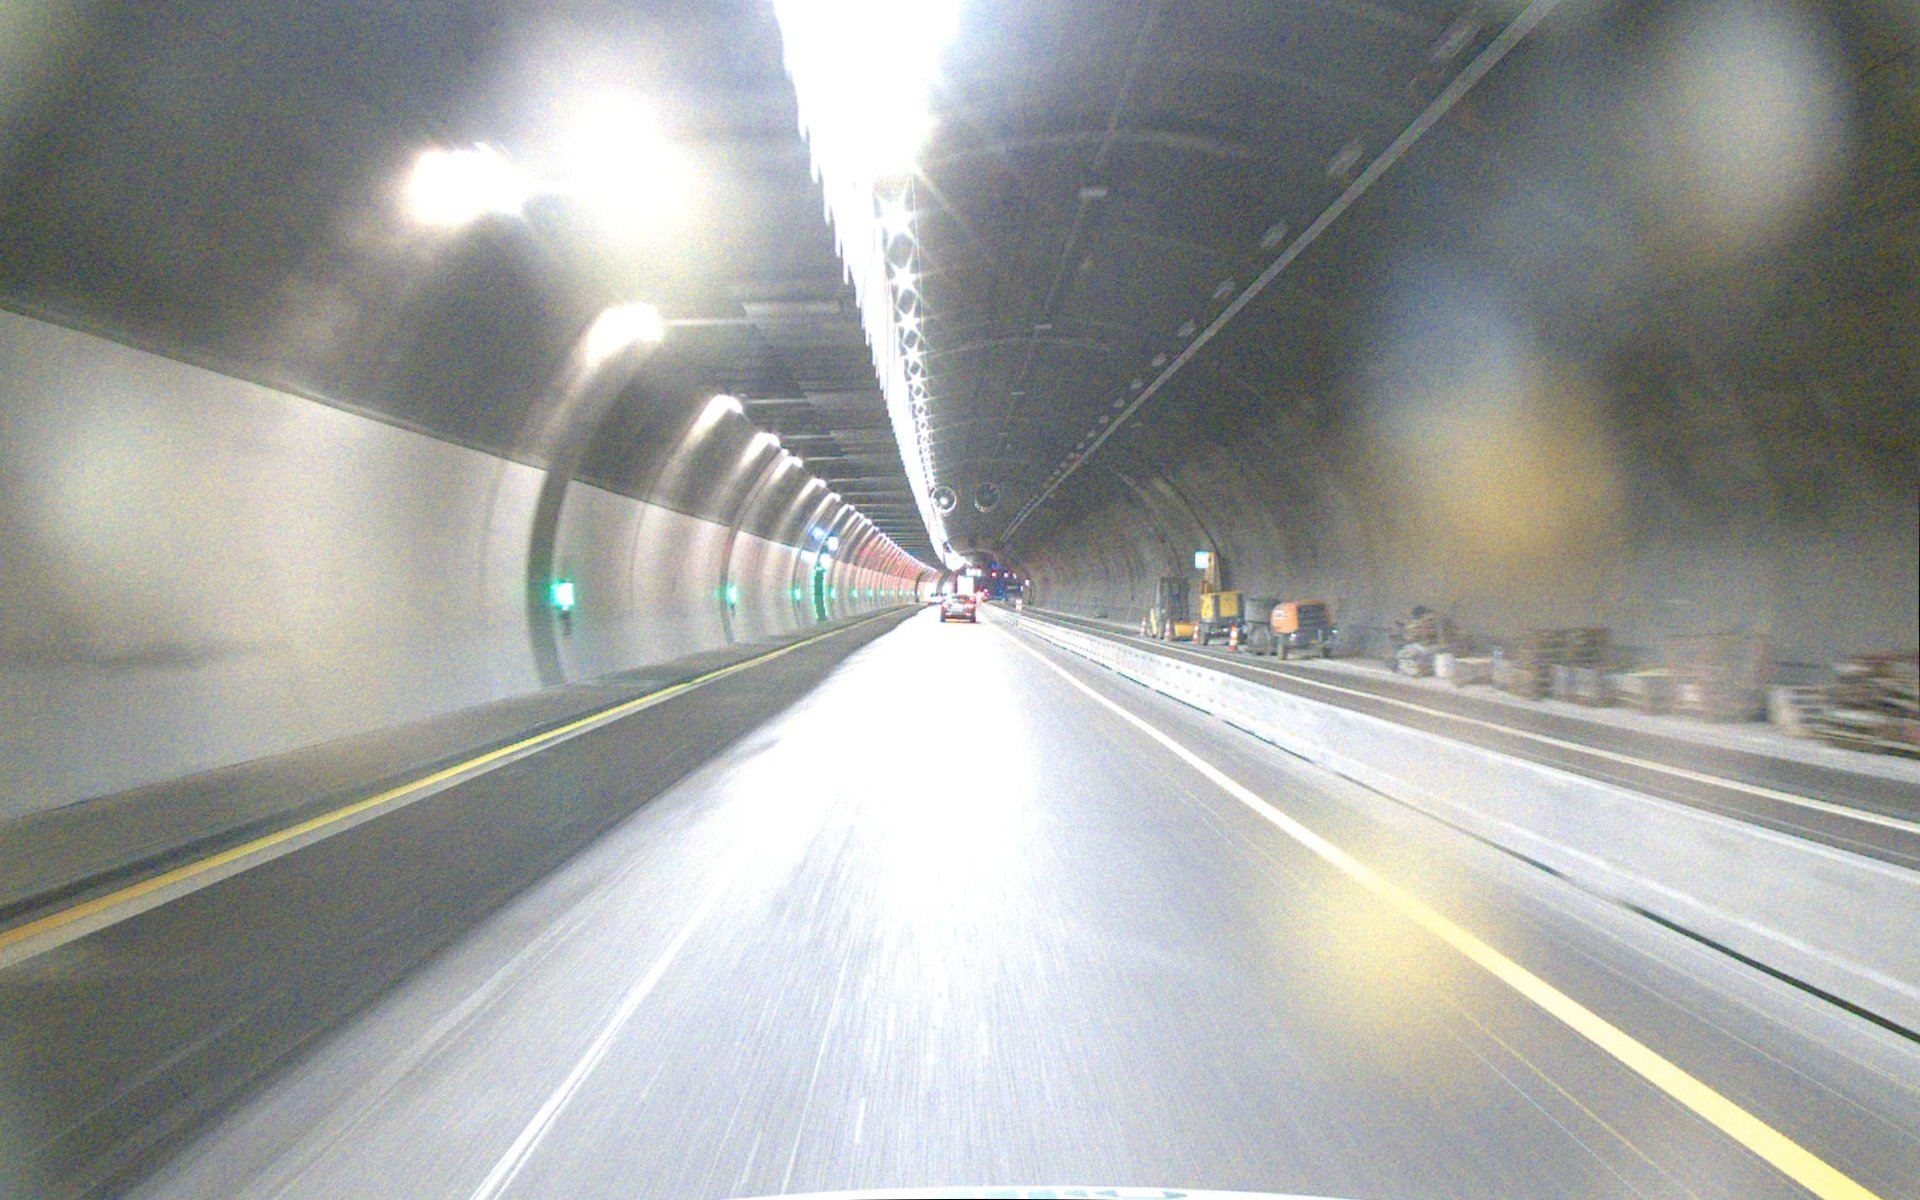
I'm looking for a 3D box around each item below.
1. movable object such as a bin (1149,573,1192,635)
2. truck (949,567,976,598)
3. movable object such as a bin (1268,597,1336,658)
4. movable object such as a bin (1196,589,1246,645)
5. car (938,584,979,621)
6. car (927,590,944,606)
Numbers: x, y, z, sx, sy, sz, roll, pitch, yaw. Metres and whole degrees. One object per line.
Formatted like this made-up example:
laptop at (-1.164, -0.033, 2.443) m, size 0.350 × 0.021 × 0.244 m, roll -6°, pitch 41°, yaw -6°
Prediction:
movable object such as a bin at (7.548, 0.137, 59.374) m, size 1.209 × 2.178 × 2.216 m, roll 0°, pitch 0°, yaw -1°
truck at (0.364, -2.790, 263.802) m, size 3.983 × 4.611 × 14.963 m, roll -2°, pitch 0°, yaw 0°
movable object such as a bin at (8.540, 0.663, 41.384) m, size 1.209 × 1.467 × 2.216 m, roll 0°, pitch 0°, yaw -1°
movable object such as a bin at (8.313, 0.524, 52.730) m, size 1.209 × 1.748 × 2.216 m, roll 0°, pitch 0°, yaw -1°
car at (-0.096, 0.123, 86.680) m, size 1.908 × 1.825 × 3.998 m, roll -2°, pitch 0°, yaw -2°
car at (-2.871, -0.246, 197.709) m, size 1.891 × 1.716 × 4.000 m, roll -2°, pitch 0°, yaw 0°
